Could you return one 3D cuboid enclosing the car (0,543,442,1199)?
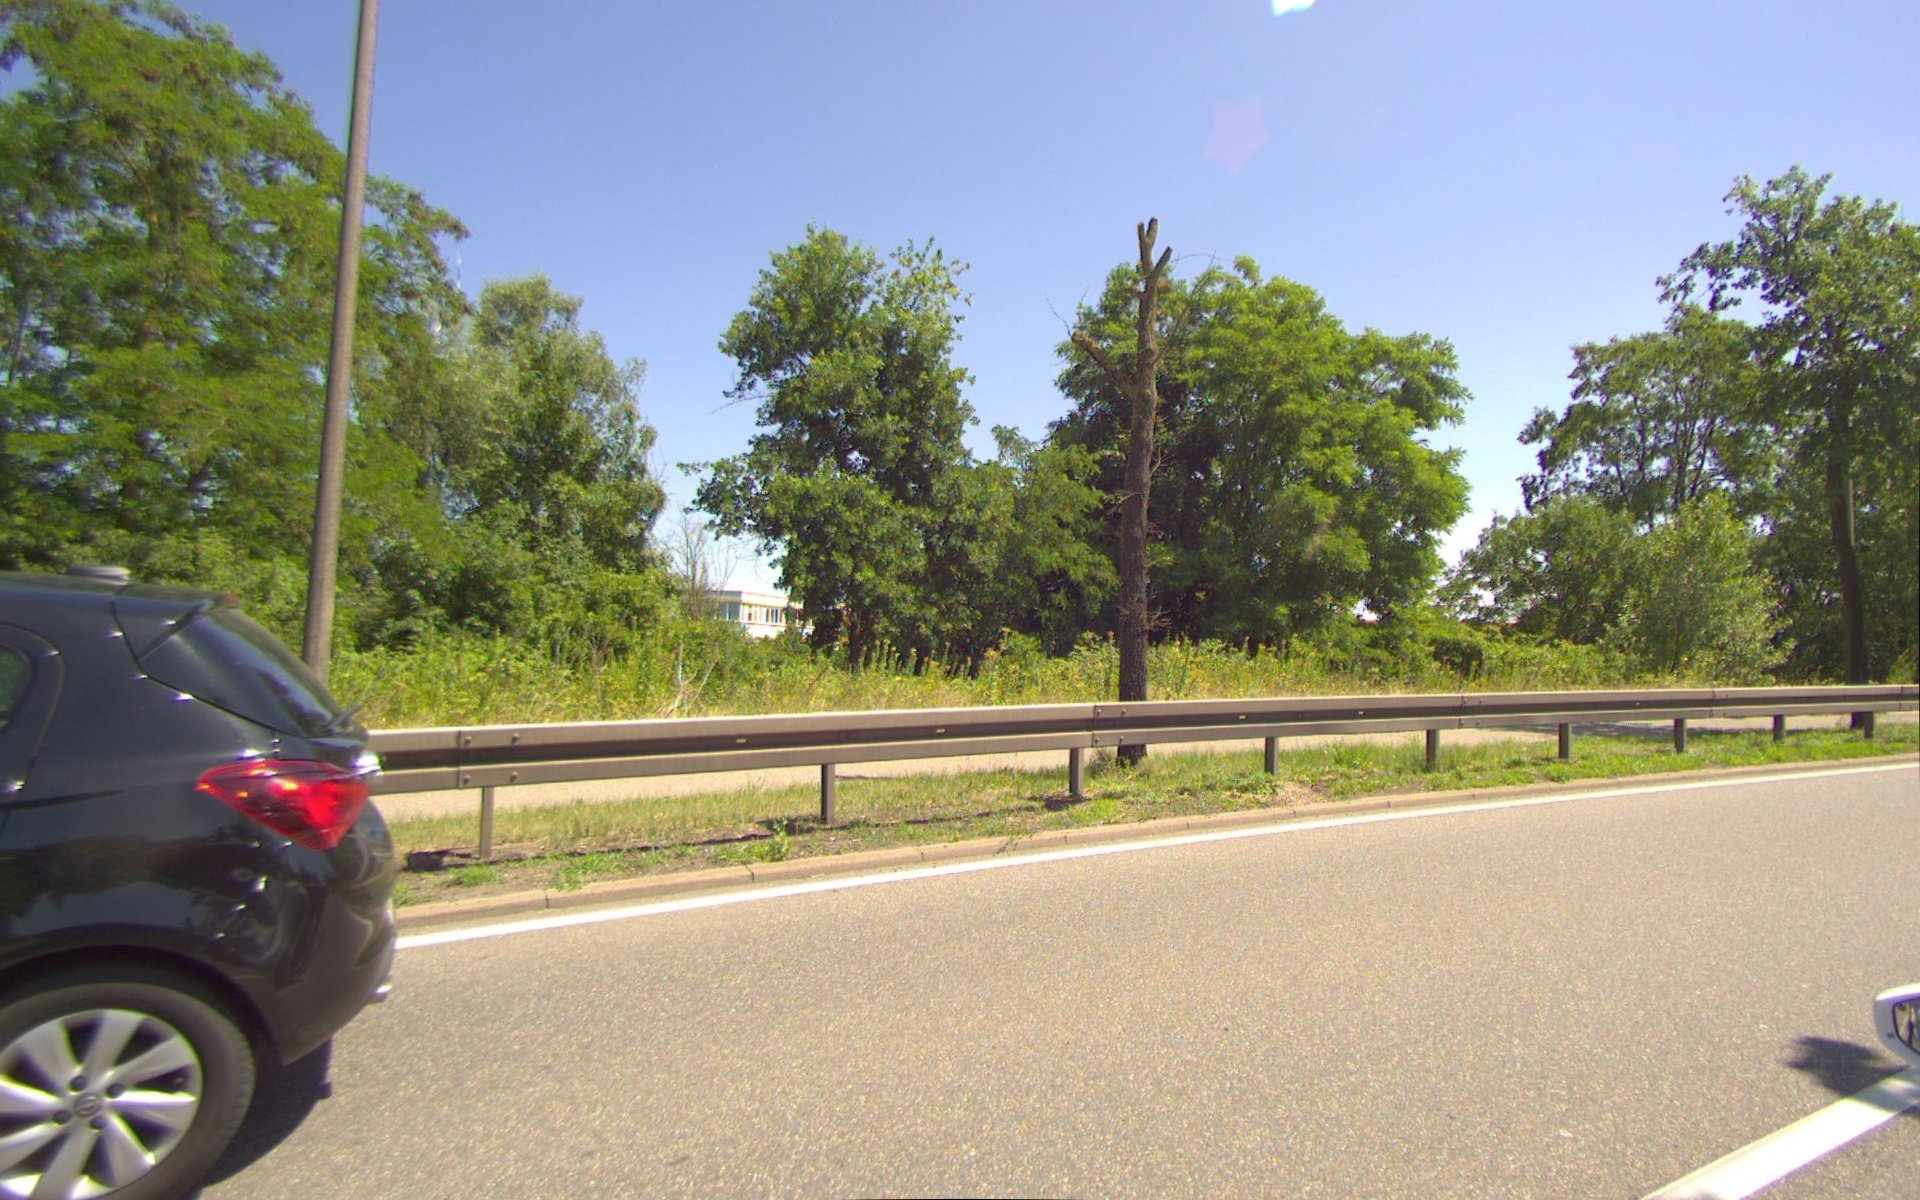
[{"bbox_3d":[-3.350,0.591,2.279,3.776,1.485,1.663,2,0,-31],"label":"car"}]
